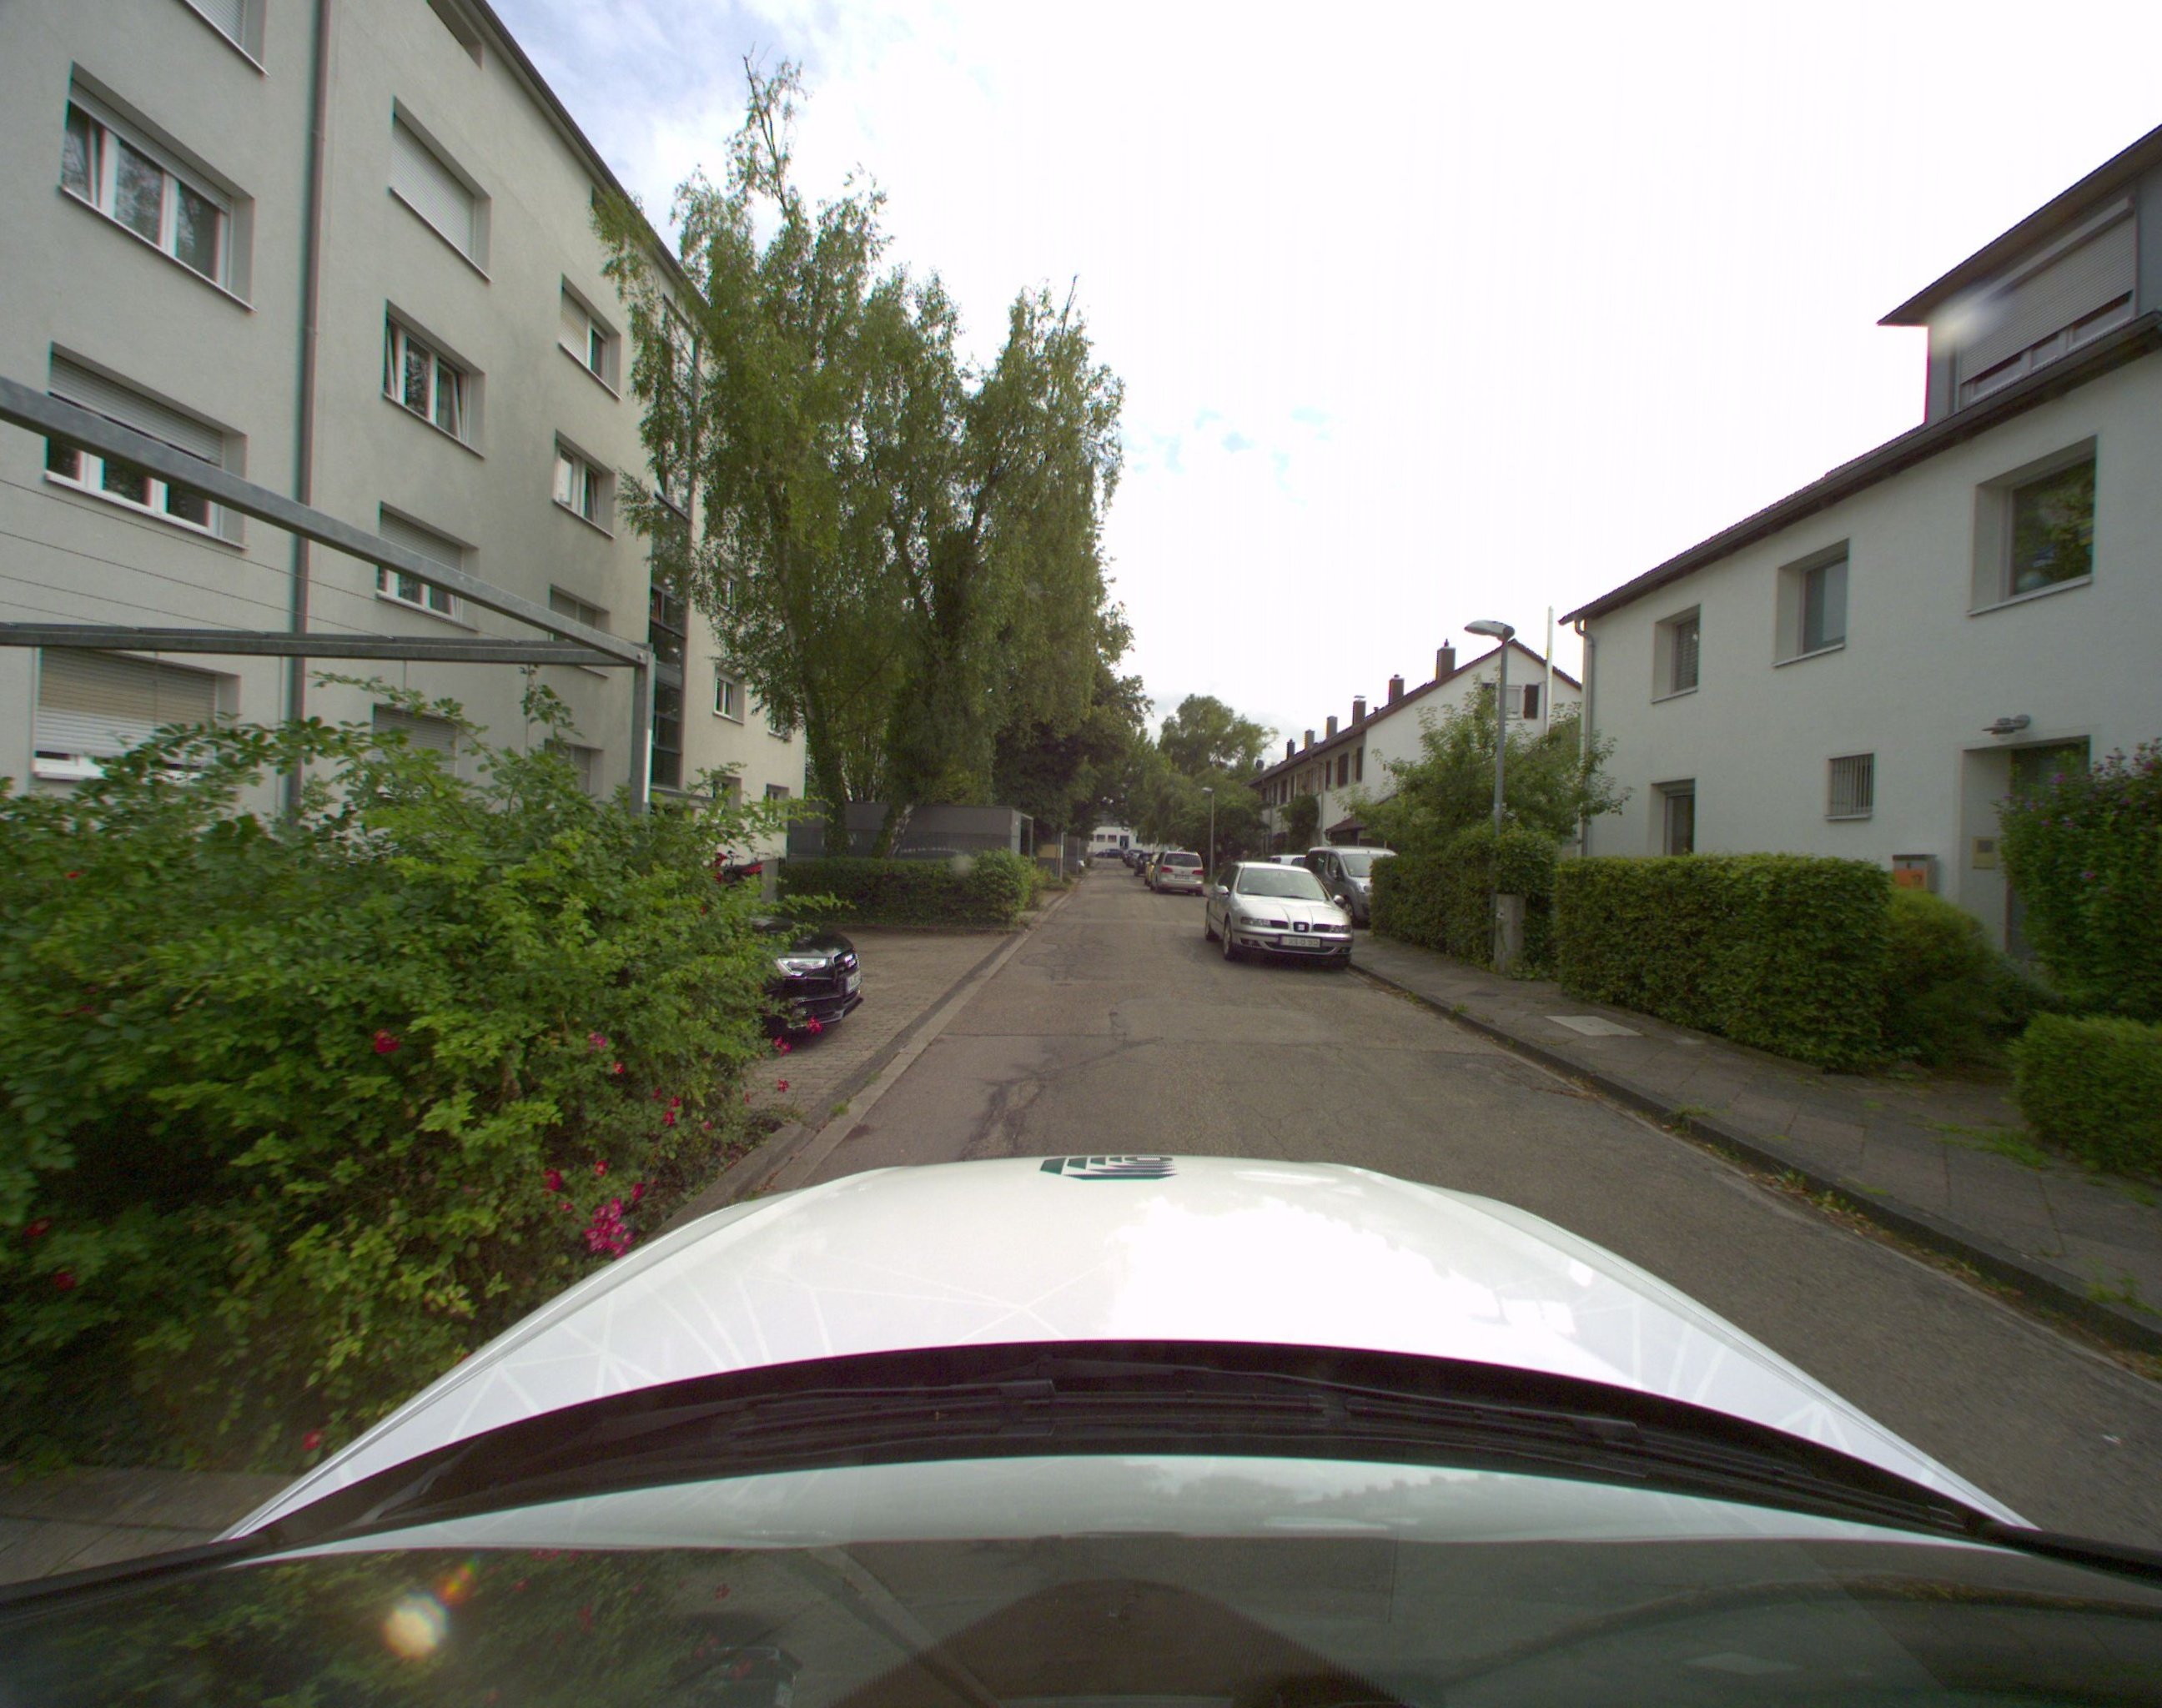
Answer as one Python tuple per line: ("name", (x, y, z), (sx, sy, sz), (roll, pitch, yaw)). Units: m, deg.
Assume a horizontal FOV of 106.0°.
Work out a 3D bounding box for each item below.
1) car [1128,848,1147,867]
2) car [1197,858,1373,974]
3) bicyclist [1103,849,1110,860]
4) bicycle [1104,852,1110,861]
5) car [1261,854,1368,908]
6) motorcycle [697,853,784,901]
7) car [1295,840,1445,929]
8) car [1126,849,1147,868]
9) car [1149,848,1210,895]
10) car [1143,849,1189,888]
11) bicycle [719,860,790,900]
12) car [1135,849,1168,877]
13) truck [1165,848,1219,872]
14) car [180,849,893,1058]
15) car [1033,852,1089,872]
("car", (6.130, 0.325, 88.278), (1.818, 1.883, 4.003), (4, 0, 3))
("car", (2.976, 0.820, 12.844), (1.818, 1.370, 4.334), (4, 0, 3))
("bicyclist", (3.659, 0.036, 116.979), (0.795, 1.511, 0.935), (3, 0, 4))
("bicycle", (3.712, 0.371, 116.956), (0.686, 1.131, 2.582), (3, 0, 4))
("car", (7.139, 0.810, 25.071), (2.808, 1.569, 1.740), (0, 0, -1))
("motorcycle", (-8.461, 0.560, 20.264), (1.906, 1.123, 0.670), (1, 0, -32))
("car", (6.456, 0.629, 18.755), (1.820, 1.777, 4.338), (-1, 0, -2))
("car", (5.173, 0.417, 76.649), (1.818, 1.581, 4.003), (4, 0, 3))
("car", (3.724, 0.628, 31.425), (1.819, 1.581, 4.001), (4, 0, 1))
("car", (3.906, 0.630, 37.897), (1.818, 1.581, 4.003), (4, 0, 3))
("bicycle", (-8.538, 0.666, 21.300), (1.671, 1.004, 0.572), (1, 0, -28))
("car", (4.429, 0.551, 51.555), (1.818, 1.581, 4.196), (4, 0, 3))
("truck", (9.456, 0.504, 69.723), (4.374, 2.013, 2.001), (0, 0, 1))
("car", (-3.875, 0.695, 6.533), (4.315, 1.376, 1.920), (1, 0, -4))
("car", (-1.447, 0.566, 59.633), (4.016, 1.394, 1.738), (1, 0, 1))
